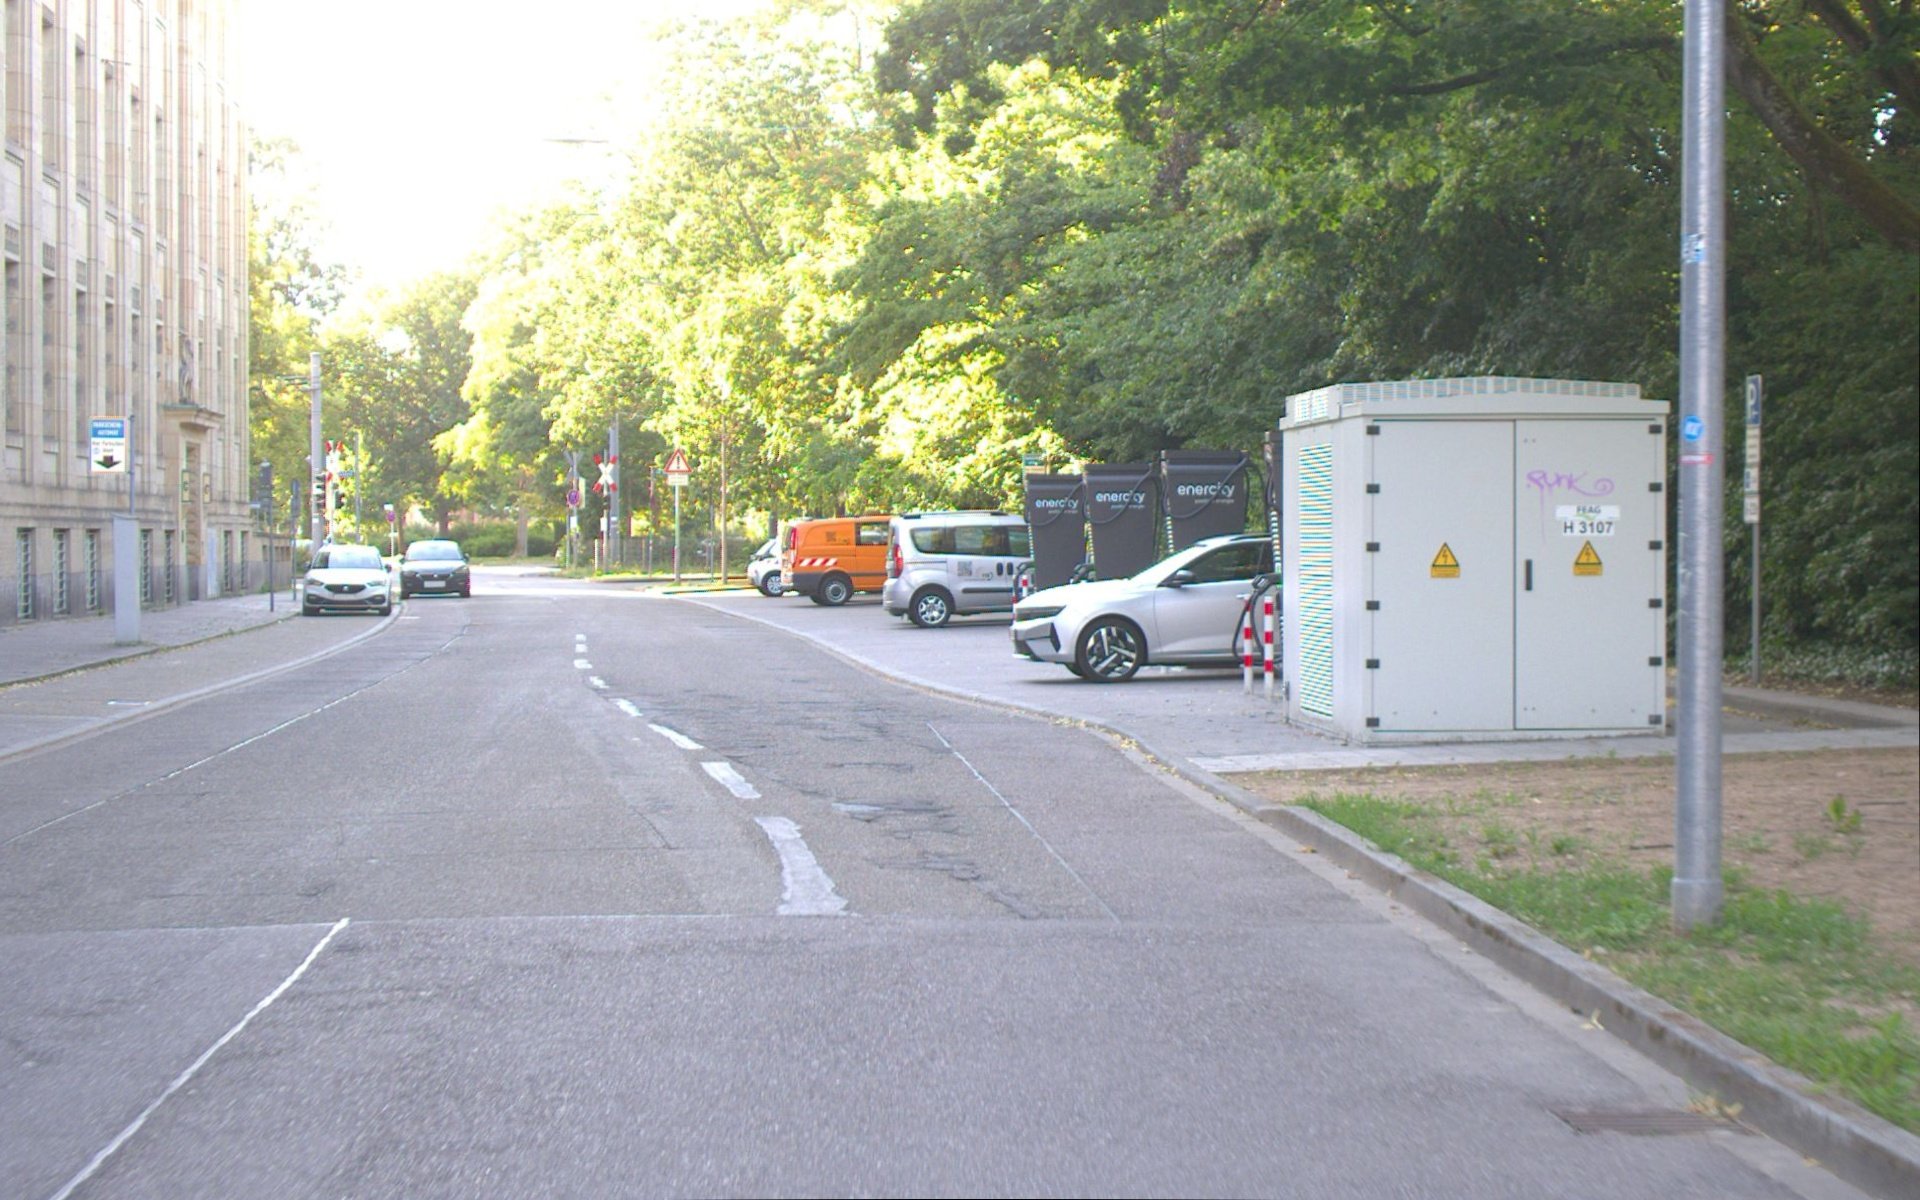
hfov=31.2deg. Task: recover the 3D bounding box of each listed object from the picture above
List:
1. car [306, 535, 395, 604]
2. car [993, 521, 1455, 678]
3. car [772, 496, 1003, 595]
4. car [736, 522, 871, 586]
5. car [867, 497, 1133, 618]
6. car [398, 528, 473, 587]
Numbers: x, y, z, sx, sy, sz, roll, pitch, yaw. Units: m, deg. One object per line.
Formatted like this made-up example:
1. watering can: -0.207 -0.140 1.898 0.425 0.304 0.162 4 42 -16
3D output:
1. car: -12.752 -0.669 72.113 1.727 1.392 4.374 0 1 -9
2. car: 2.661 -0.025 35.205 4.440 1.464 1.783 -1 1 -6
3. car: -1.632 -1.213 76.509 4.817 2.007 1.803 -2 1 -12
4. car: -3.951 -1.161 86.846 3.143 1.498 1.541 -2 1 -12
5. car: 0.638 -0.711 57.320 4.228 1.853 2.000 -2 1 -4
6. car: -13.625 -1.121 89.294 1.878 1.461 4.374 0 2 -9
